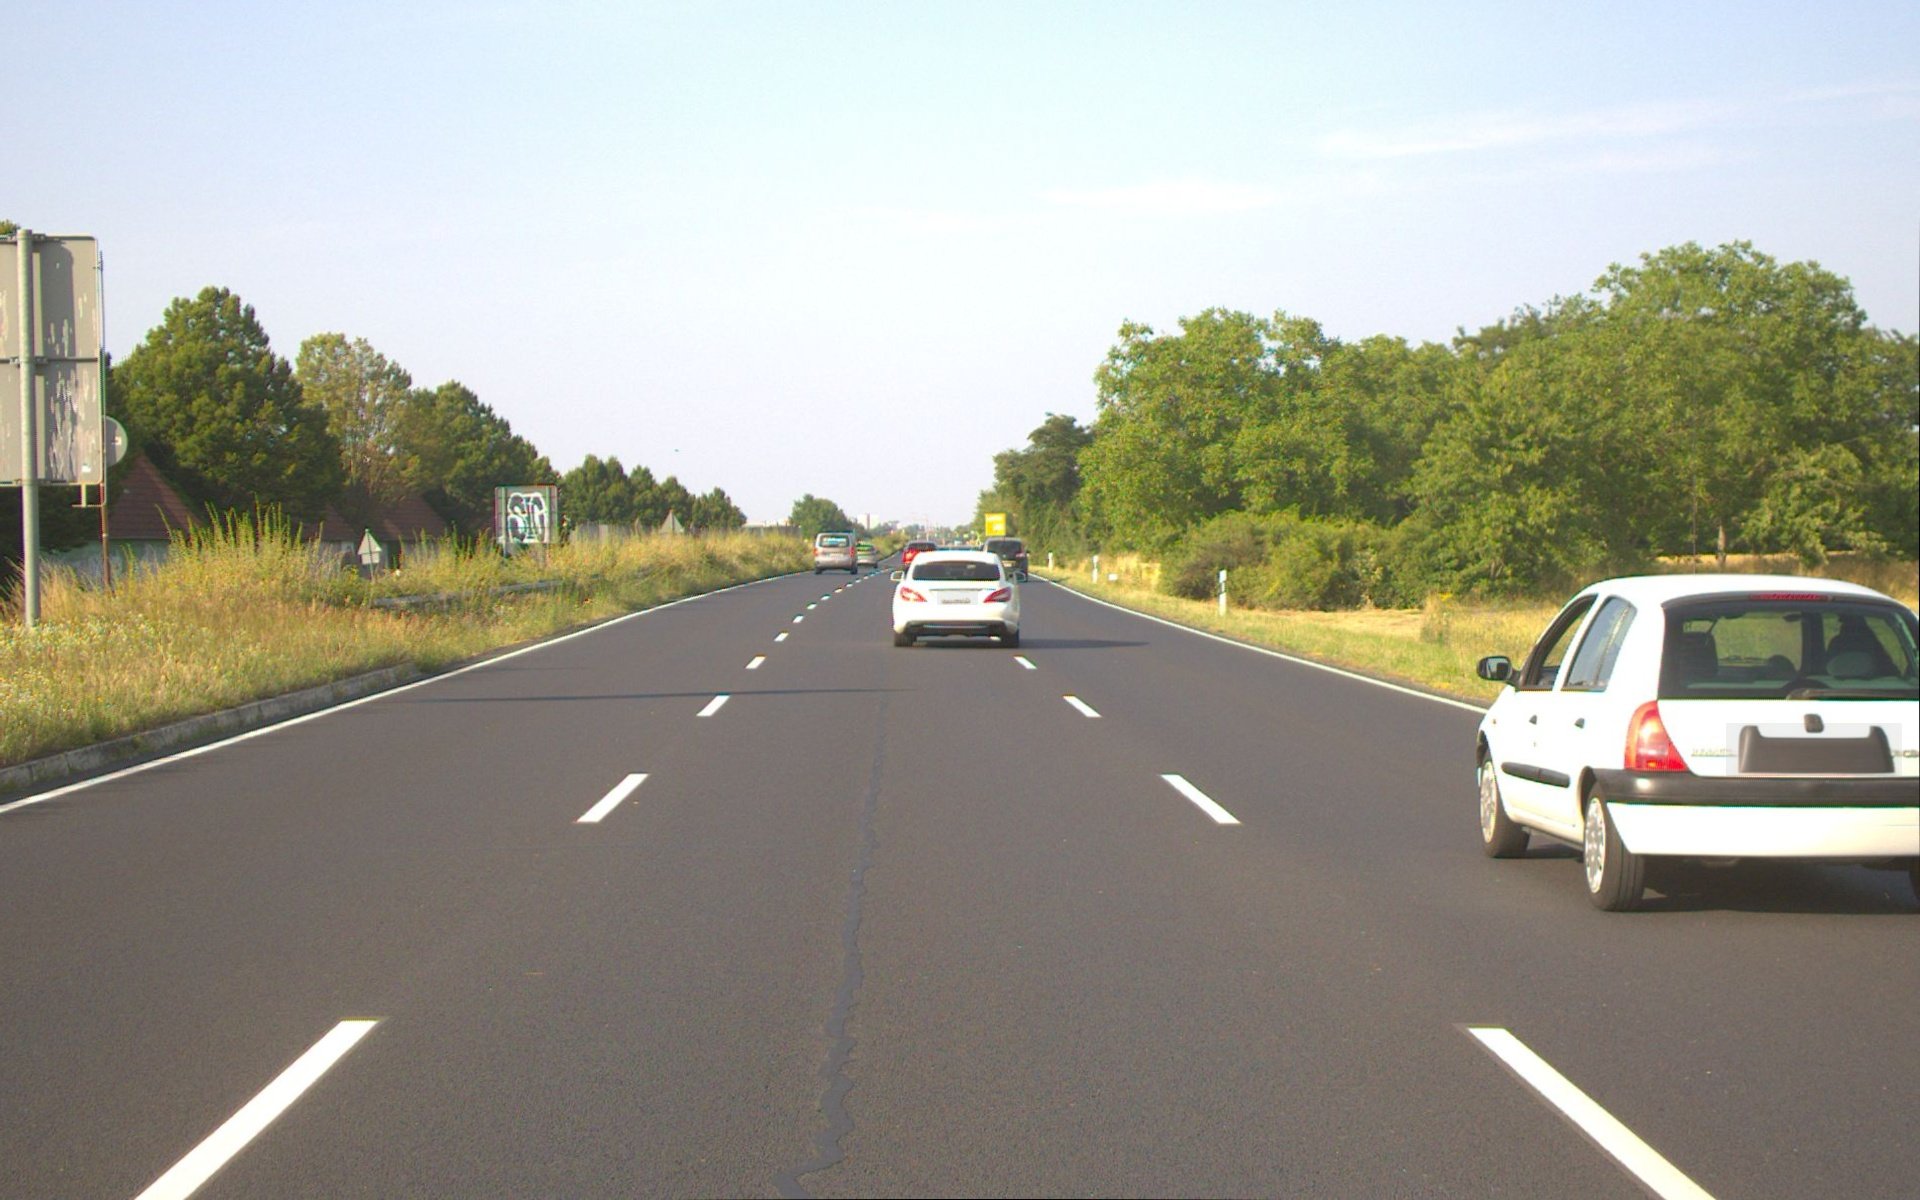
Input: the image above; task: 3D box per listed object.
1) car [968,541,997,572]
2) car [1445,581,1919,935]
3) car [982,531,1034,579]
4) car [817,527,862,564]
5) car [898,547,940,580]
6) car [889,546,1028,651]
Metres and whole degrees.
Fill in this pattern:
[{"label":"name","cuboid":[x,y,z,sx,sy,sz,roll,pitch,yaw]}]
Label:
[{"label":"car","cuboid":[1.411,-2.709,214.389,1.803,1.897,3.559,1,0,1]},{"label":"car","cuboid":[3.310,0.618,15.538,1.617,1.382,3.951,1,0,-1]},{"label":"car","cuboid":[1.768,-1.658,127.928,1.828,1.722,4.000,1,0,-1]},{"label":"car","cuboid":[-5.475,-2.461,156.657,1.758,1.612,4.000,1,0,2]},{"label":"car","cuboid":[-1.816,-1.601,151.743,1.812,1.431,3.858,1,0,-1]},{"label":"car","cuboid":[-0.033,-0.034,51.969,1.993,1.511,4.000,1,0,0]}]
